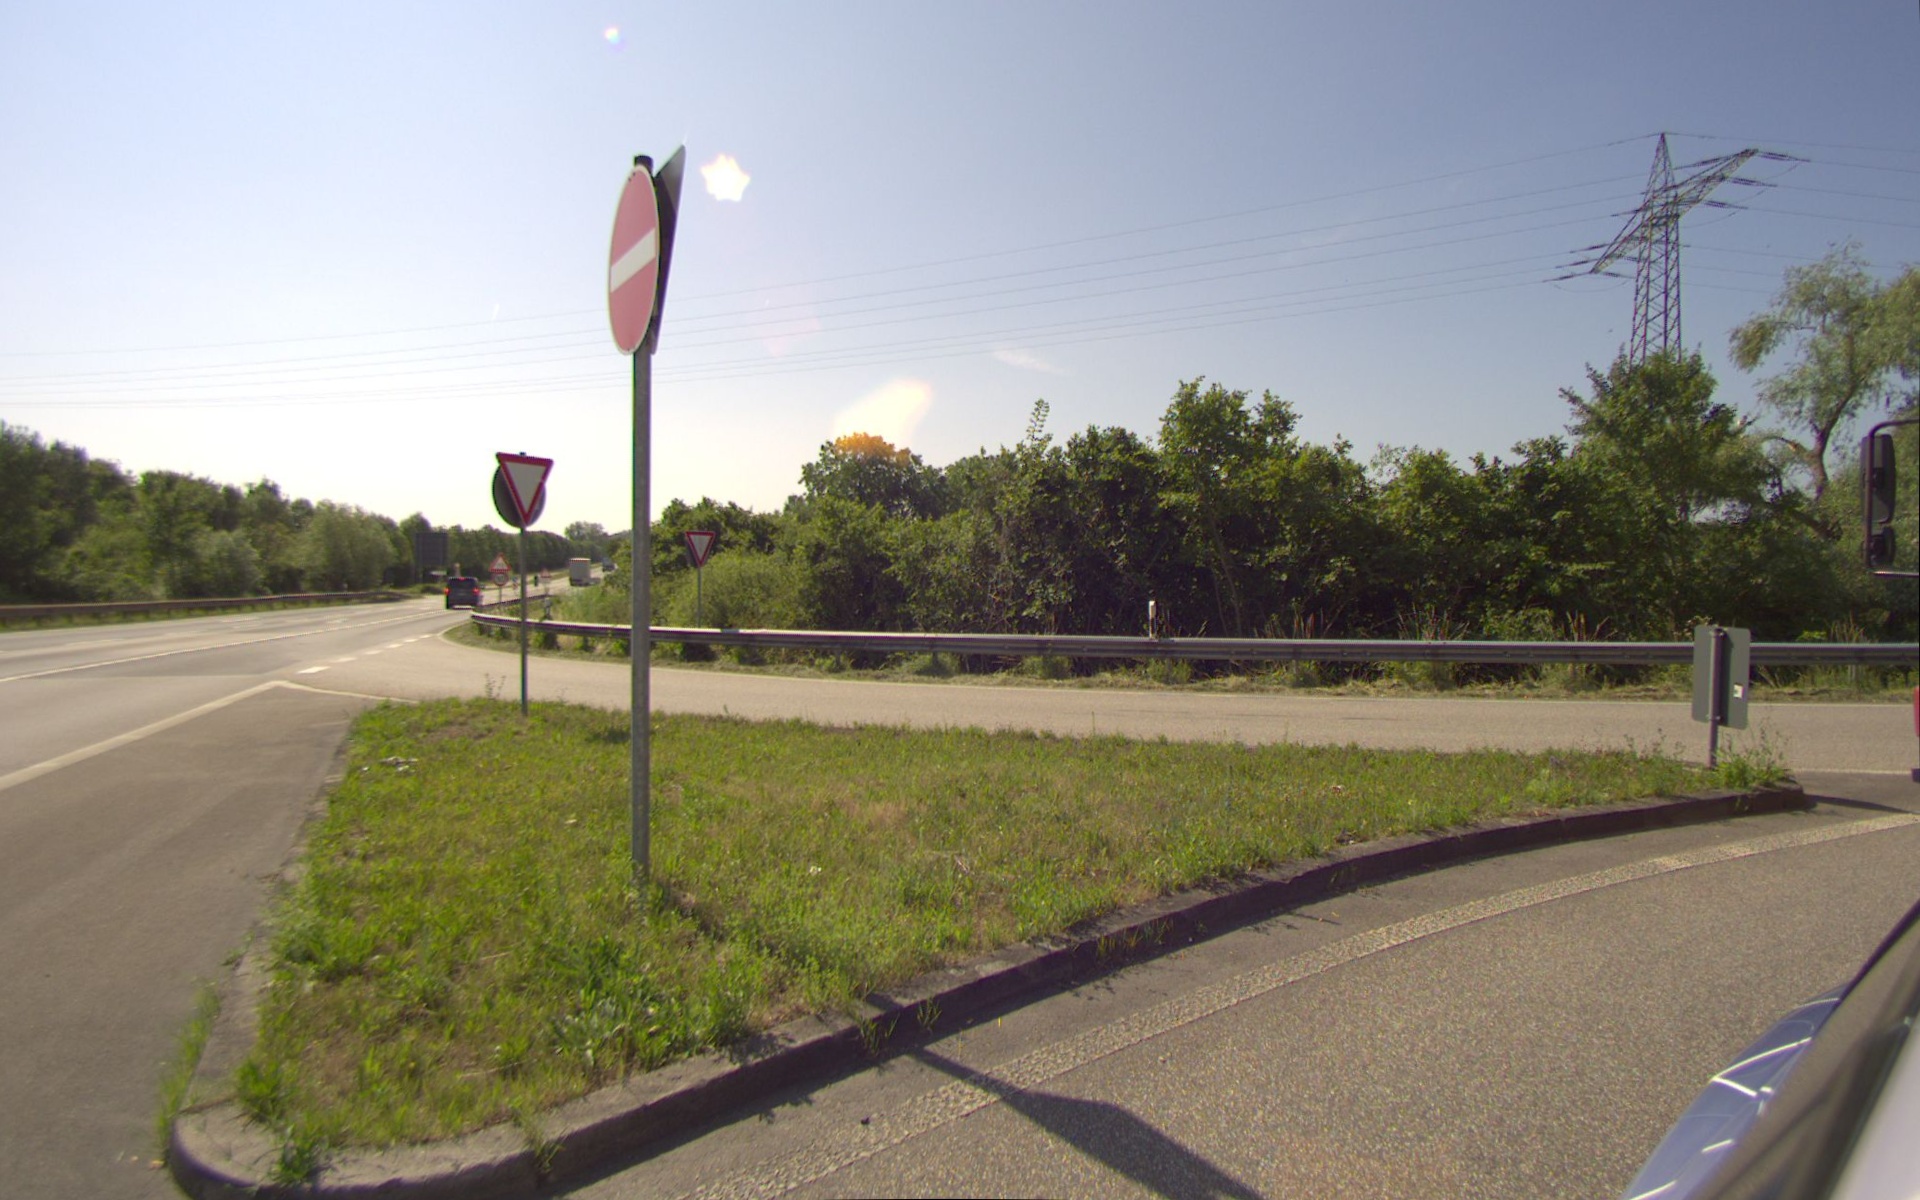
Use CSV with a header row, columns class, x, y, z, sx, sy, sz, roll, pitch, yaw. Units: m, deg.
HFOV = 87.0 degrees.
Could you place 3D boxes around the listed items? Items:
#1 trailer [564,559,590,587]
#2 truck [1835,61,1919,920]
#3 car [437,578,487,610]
class,x,y,z,sx,sy,sz,roll,pitch,yaw
trailer,-59.597,-4.253,157.639,2.868,4.060,13.447,2,1,-17
truck,8.696,-0.466,5.304,9.070,3.707,2.696,0,0,-25
car,-30.540,-0.383,62.215,1.958,1.903,5.004,0,0,-17
